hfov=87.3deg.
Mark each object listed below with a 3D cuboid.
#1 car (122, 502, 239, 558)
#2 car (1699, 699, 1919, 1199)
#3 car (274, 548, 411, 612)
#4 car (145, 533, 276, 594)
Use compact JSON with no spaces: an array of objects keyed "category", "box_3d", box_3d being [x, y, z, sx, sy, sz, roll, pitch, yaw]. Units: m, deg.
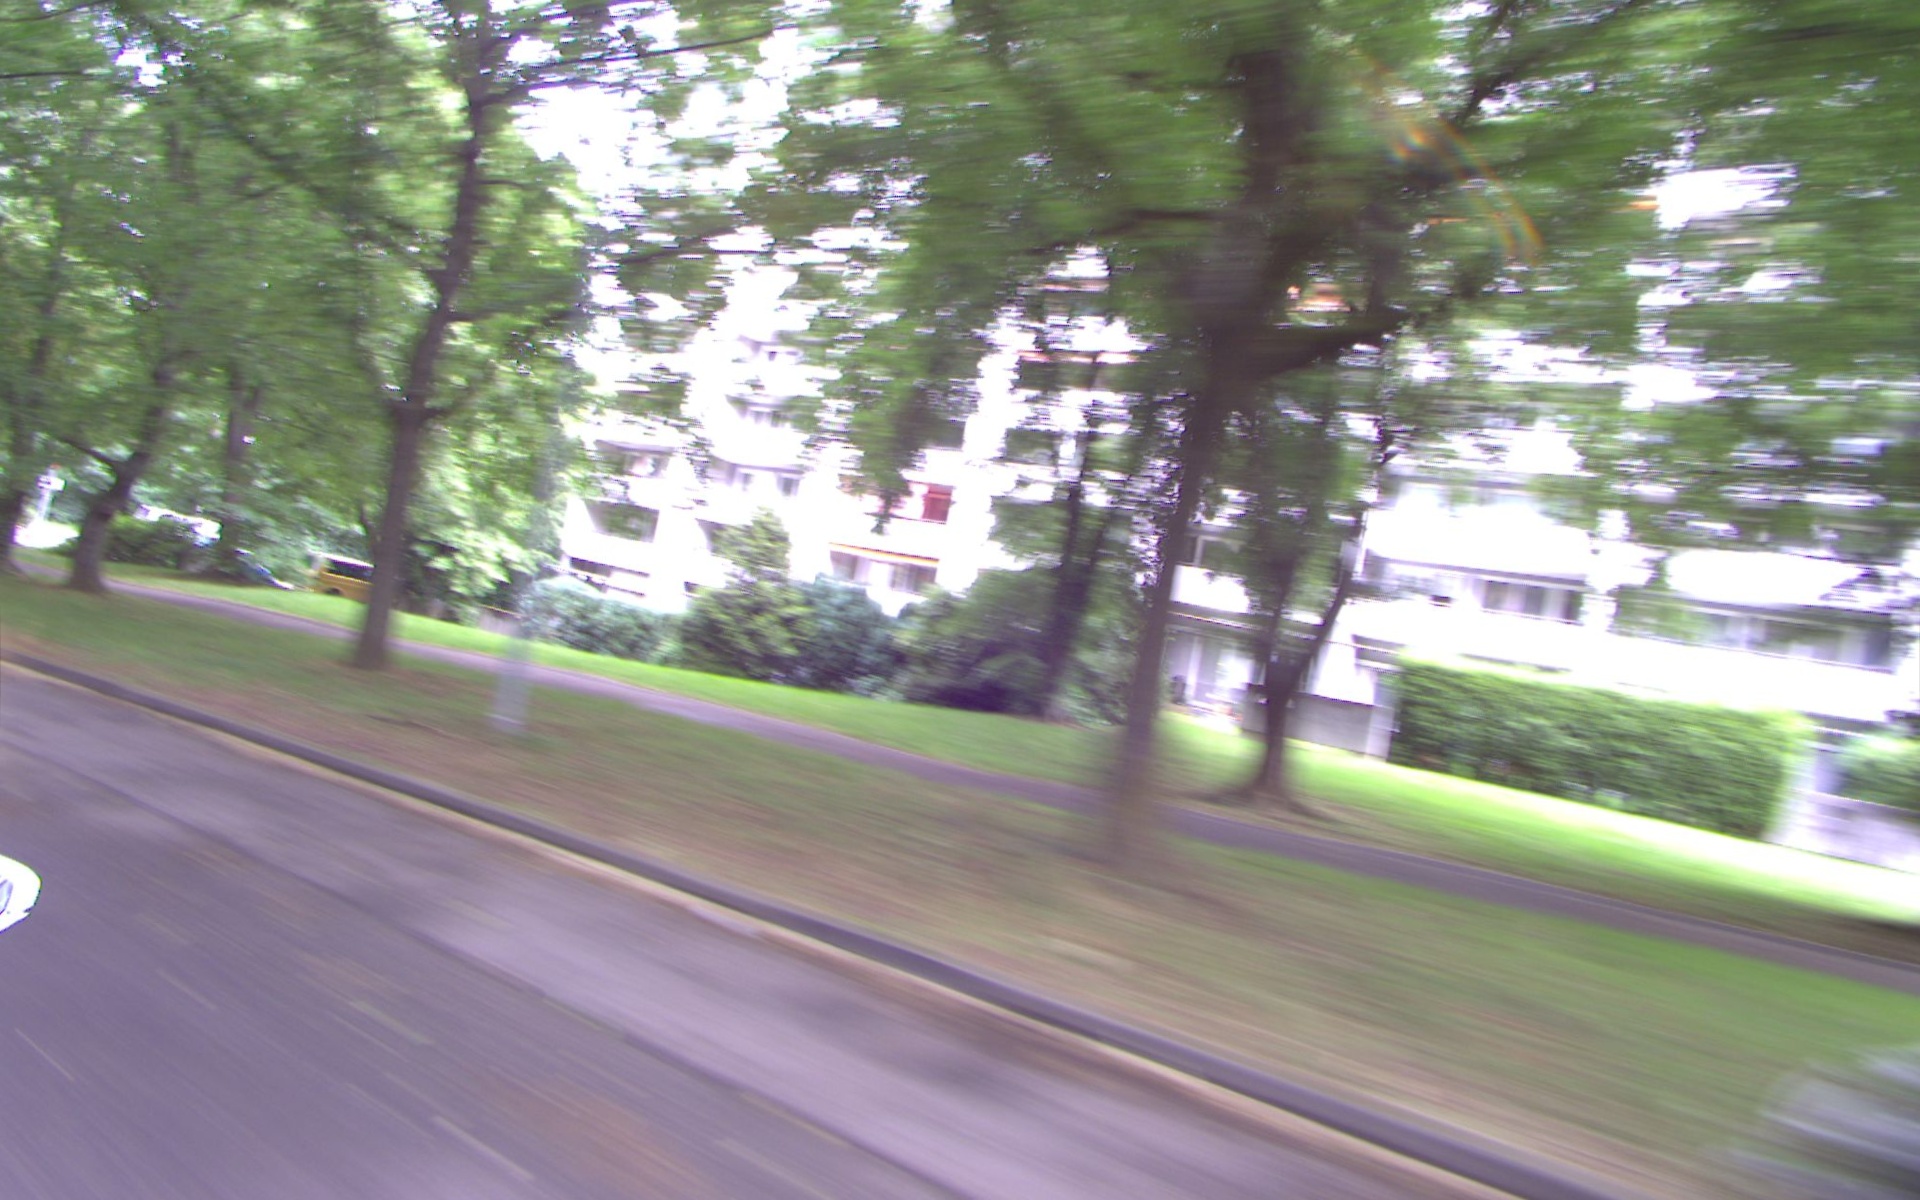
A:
[{"category":"car","box_3d":[-40.715,-3.619,52.627,1.966,2.035,4.219,8,-3,29]},{"category":"car","box_3d":[3.232,1.158,0.939,3.832,1.480,1.687,8,-3,31]},{"category":"car","box_3d":[-26.004,-0.795,42.543,1.802,1.868,4.407,8,-3,33]},{"category":"car","box_3d":[-28.787,-1.383,38.699,1.804,1.587,3.522,8,-3,37]}]
